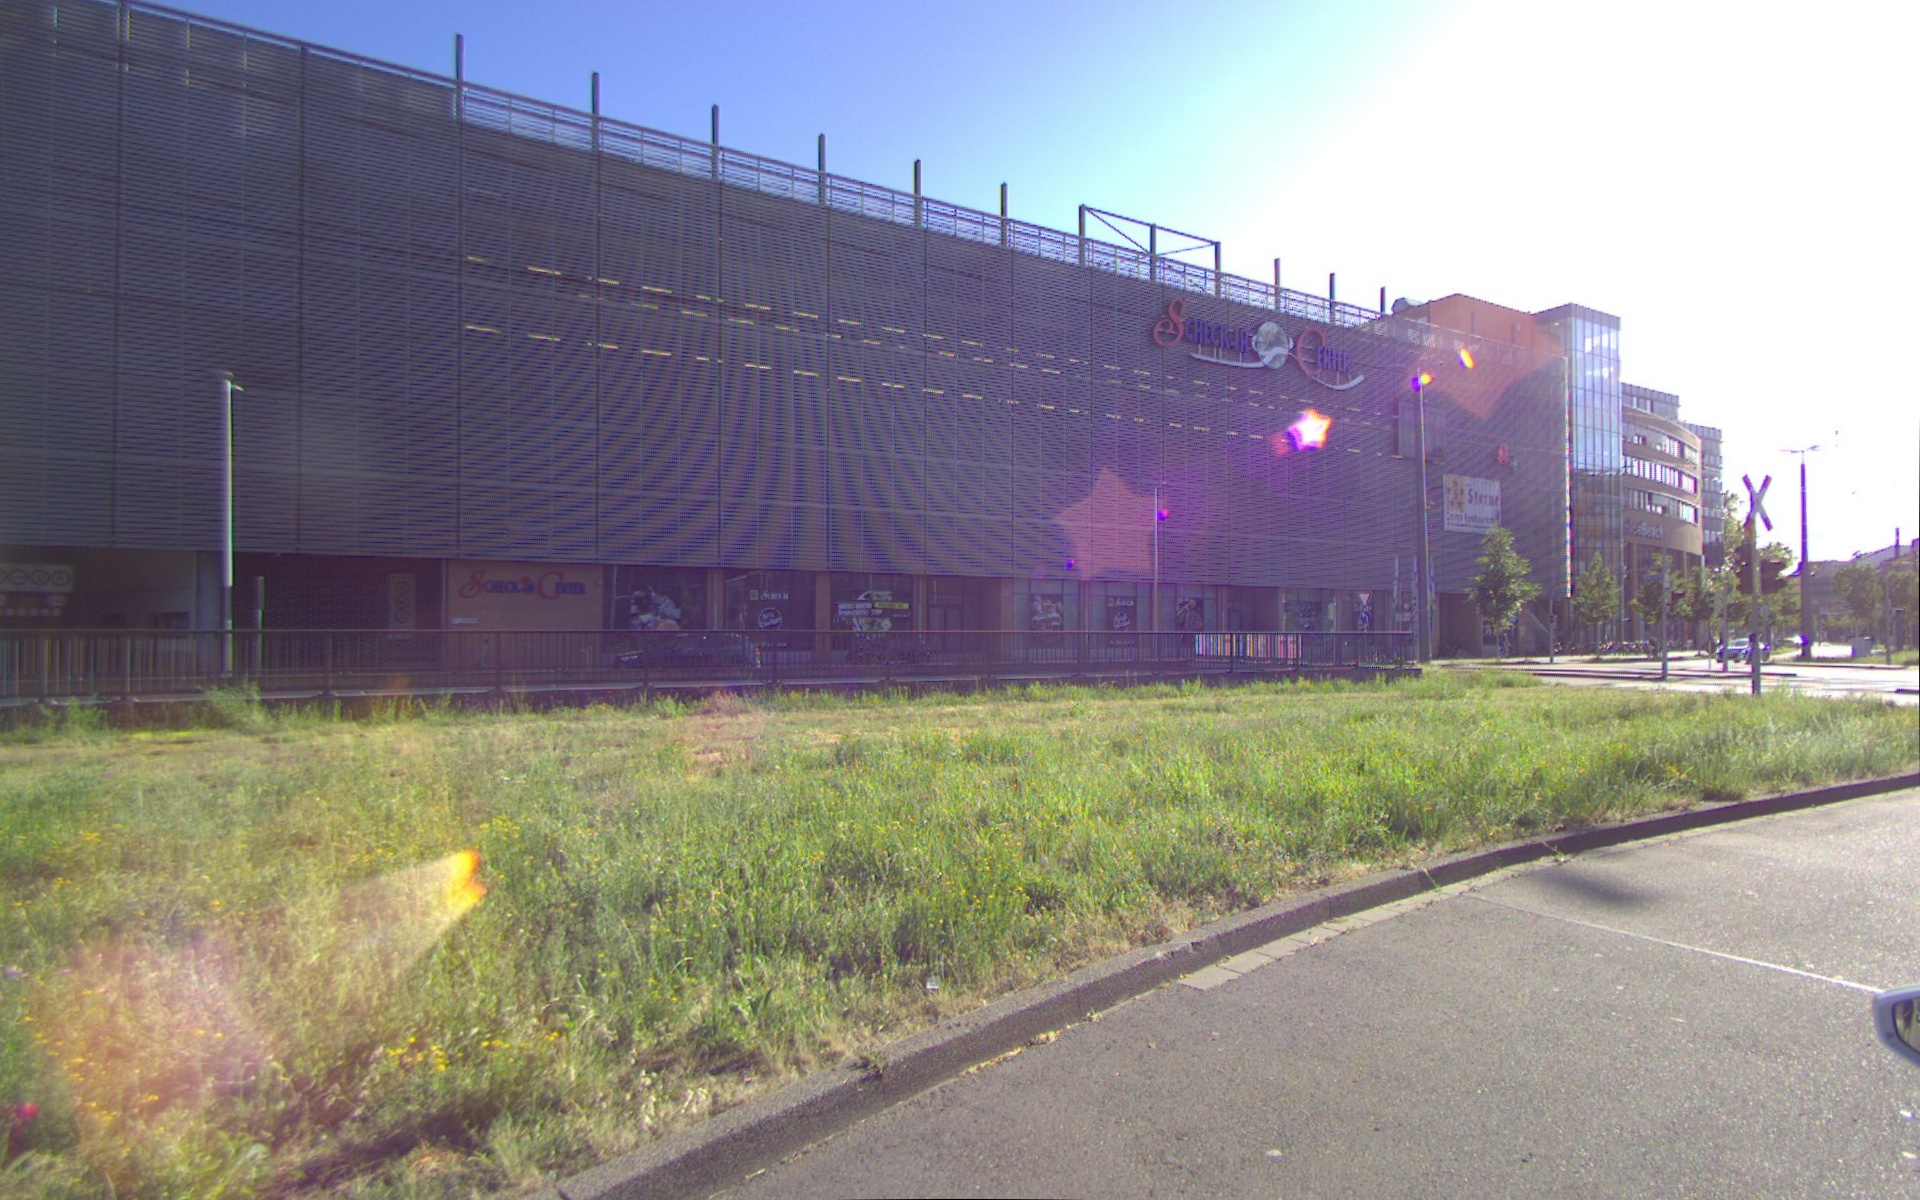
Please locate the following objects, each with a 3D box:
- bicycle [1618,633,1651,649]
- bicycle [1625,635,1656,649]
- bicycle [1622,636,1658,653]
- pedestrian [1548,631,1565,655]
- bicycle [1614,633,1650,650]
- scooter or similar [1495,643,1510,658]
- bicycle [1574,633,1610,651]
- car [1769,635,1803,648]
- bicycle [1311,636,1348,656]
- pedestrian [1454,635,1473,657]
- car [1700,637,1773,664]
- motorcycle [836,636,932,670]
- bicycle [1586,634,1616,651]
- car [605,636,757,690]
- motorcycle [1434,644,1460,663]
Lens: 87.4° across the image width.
[{"bbox_3d":[63.571,3.898,94.704,0.760,1.452,2.604,1,-3,-21],"label":"bicycle"},{"bbox_3d":[64.708,3.994,95.561,0.733,1.252,2.411,1,-3,-21],"label":"bicycle"},{"bbox_3d":[59.803,3.947,88.345,0.891,1.452,2.558,1,-3,-21],"label":"bicycle"},{"bbox_3d":[46.216,3.334,77.818,0.894,1.848,0.823,2,-3,-29],"label":"pedestrian"},{"bbox_3d":[58.085,3.621,86.869,0.891,1.452,2.558,1,-3,-21],"label":"bicycle"},{"bbox_3d":[40.648,3.761,75.264,1.138,1.124,0.419,2,-3,-30],"label":"scooter or similar"},{"bbox_3d":[52.895,3.512,84.079,1.060,1.452,2.367,1,-3,-21],"label":"bicycle"},{"bbox_3d":[108.786,5.467,132.323,1.623,1.609,3.357,1,-2,-5],"label":"car"},{"bbox_3d":[23.175,2.888,62.928,2.384,1.237,0.797,1,-2,-27],"label":"bicycle"},{"bbox_3d":[37.466,3.426,74.805,0.819,1.586,0.983,2,-3,-30],"label":"pedestrian"},{"bbox_3d":[48.082,3.100,62.150,4.475,1.566,1.985,1,-2,-29],"label":"car"},{"bbox_3d":[-3.507,2.437,46.394,3.953,1.472,1.984,1,-2,-30],"label":"motorcycle"},{"bbox_3d":[53.899,3.569,84.476,0.848,1.452,2.080,1,-3,-21],"label":"bicycle"},{"bbox_3d":[-8.599,1.902,31.051,4.193,1.520,1.985,1,-1,-30],"label":"car"},{"bbox_3d":[33.719,3.696,69.519,1.872,1.254,0.672,2,-3,-31],"label":"motorcycle"}]
